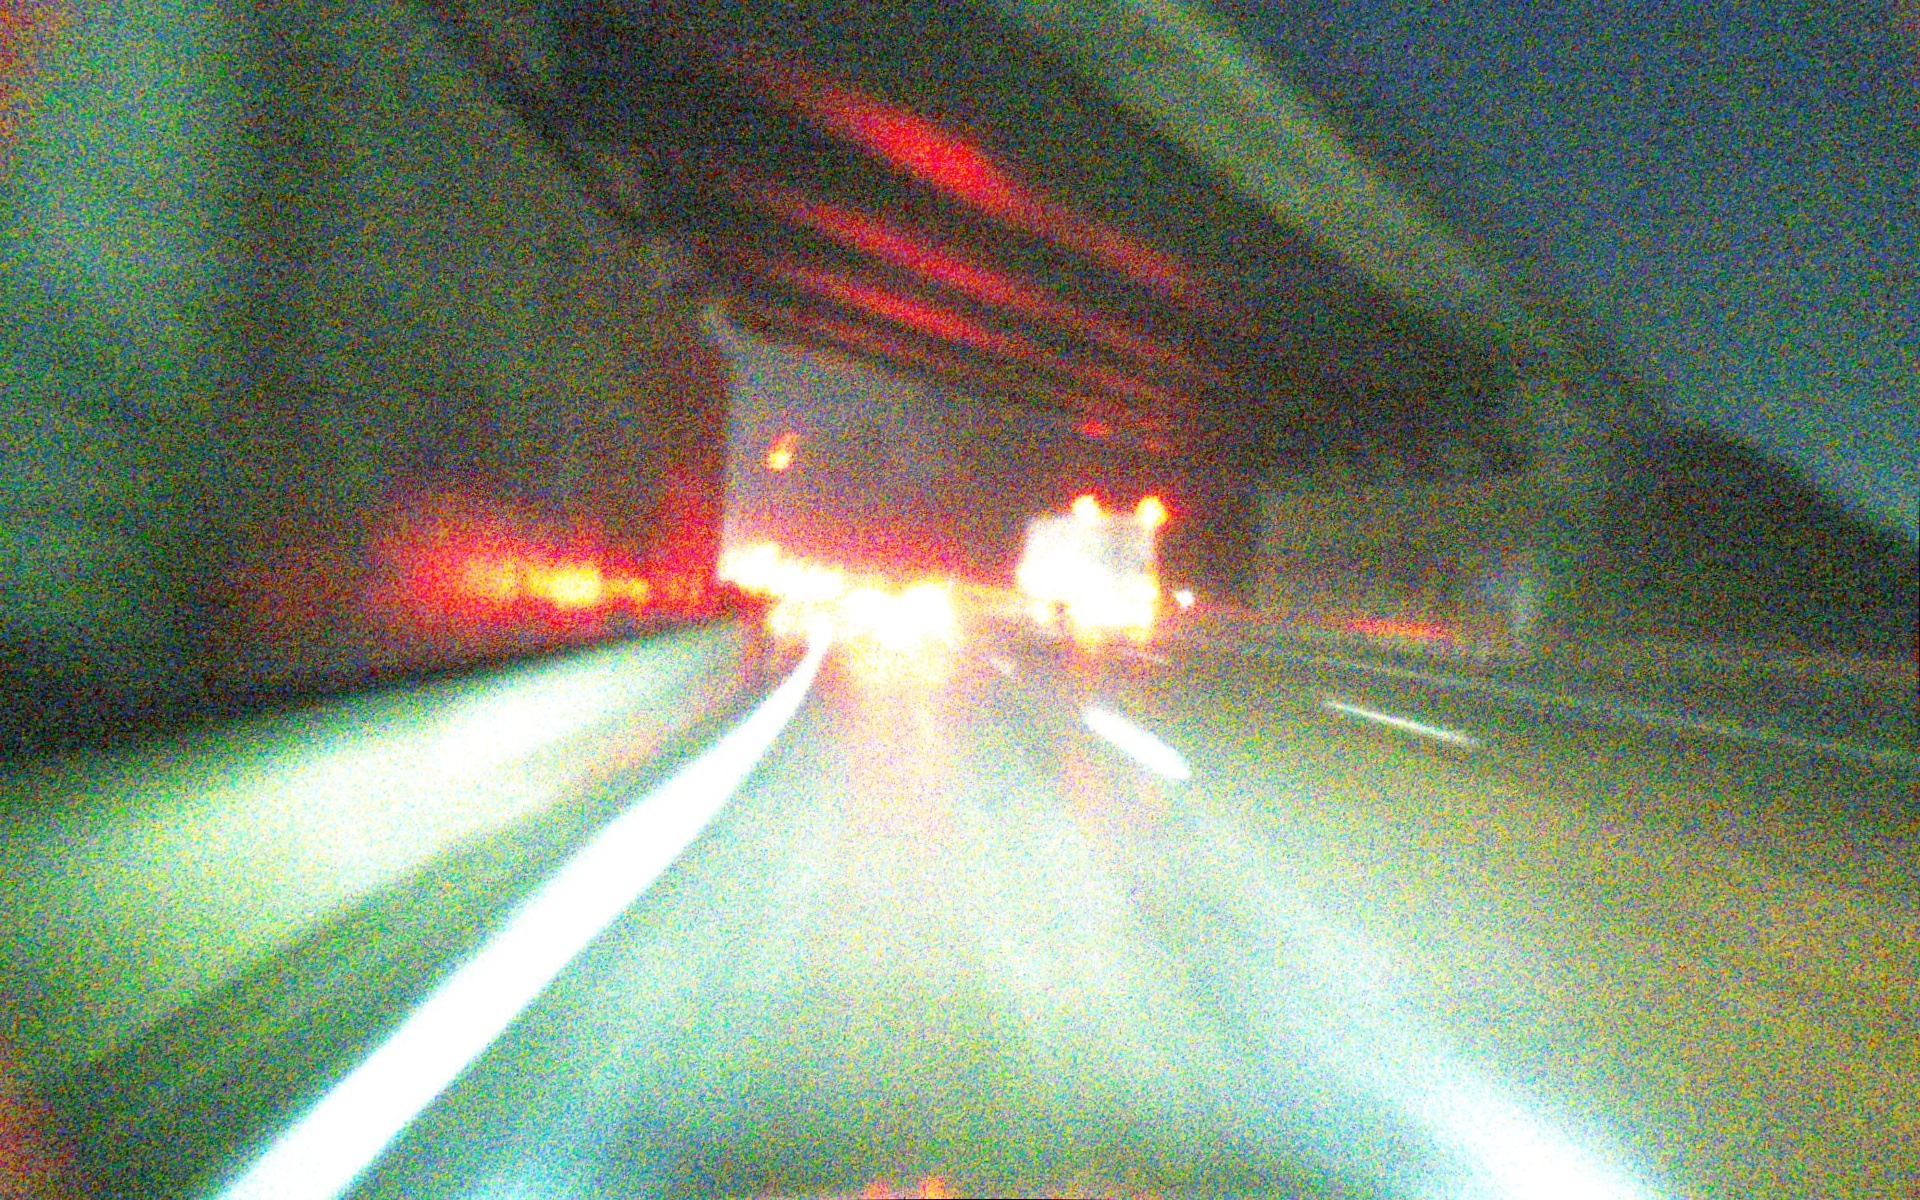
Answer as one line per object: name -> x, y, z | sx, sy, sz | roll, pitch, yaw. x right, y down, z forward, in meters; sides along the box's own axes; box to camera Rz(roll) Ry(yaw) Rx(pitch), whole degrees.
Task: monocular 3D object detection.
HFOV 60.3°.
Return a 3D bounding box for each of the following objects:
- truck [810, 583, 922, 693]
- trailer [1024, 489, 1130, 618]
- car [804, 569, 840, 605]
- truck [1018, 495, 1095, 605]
truck -> -2.126, 0.785, 39.292 | 2.102, 2.112, 6.604 | 5, 1, 0
trailer -> 4.173, -1.701, 62.107 | 2.684, 4.322, 13.369 | -1, 1, -1
car -> -8.209, -0.765, 98.214 | 1.956, 2.049, 3.993 | 0, 0, -8
truck -> 3.959, -2.019, 68.729 | 2.656, 4.315, 5.291 | 1, 1, -2
